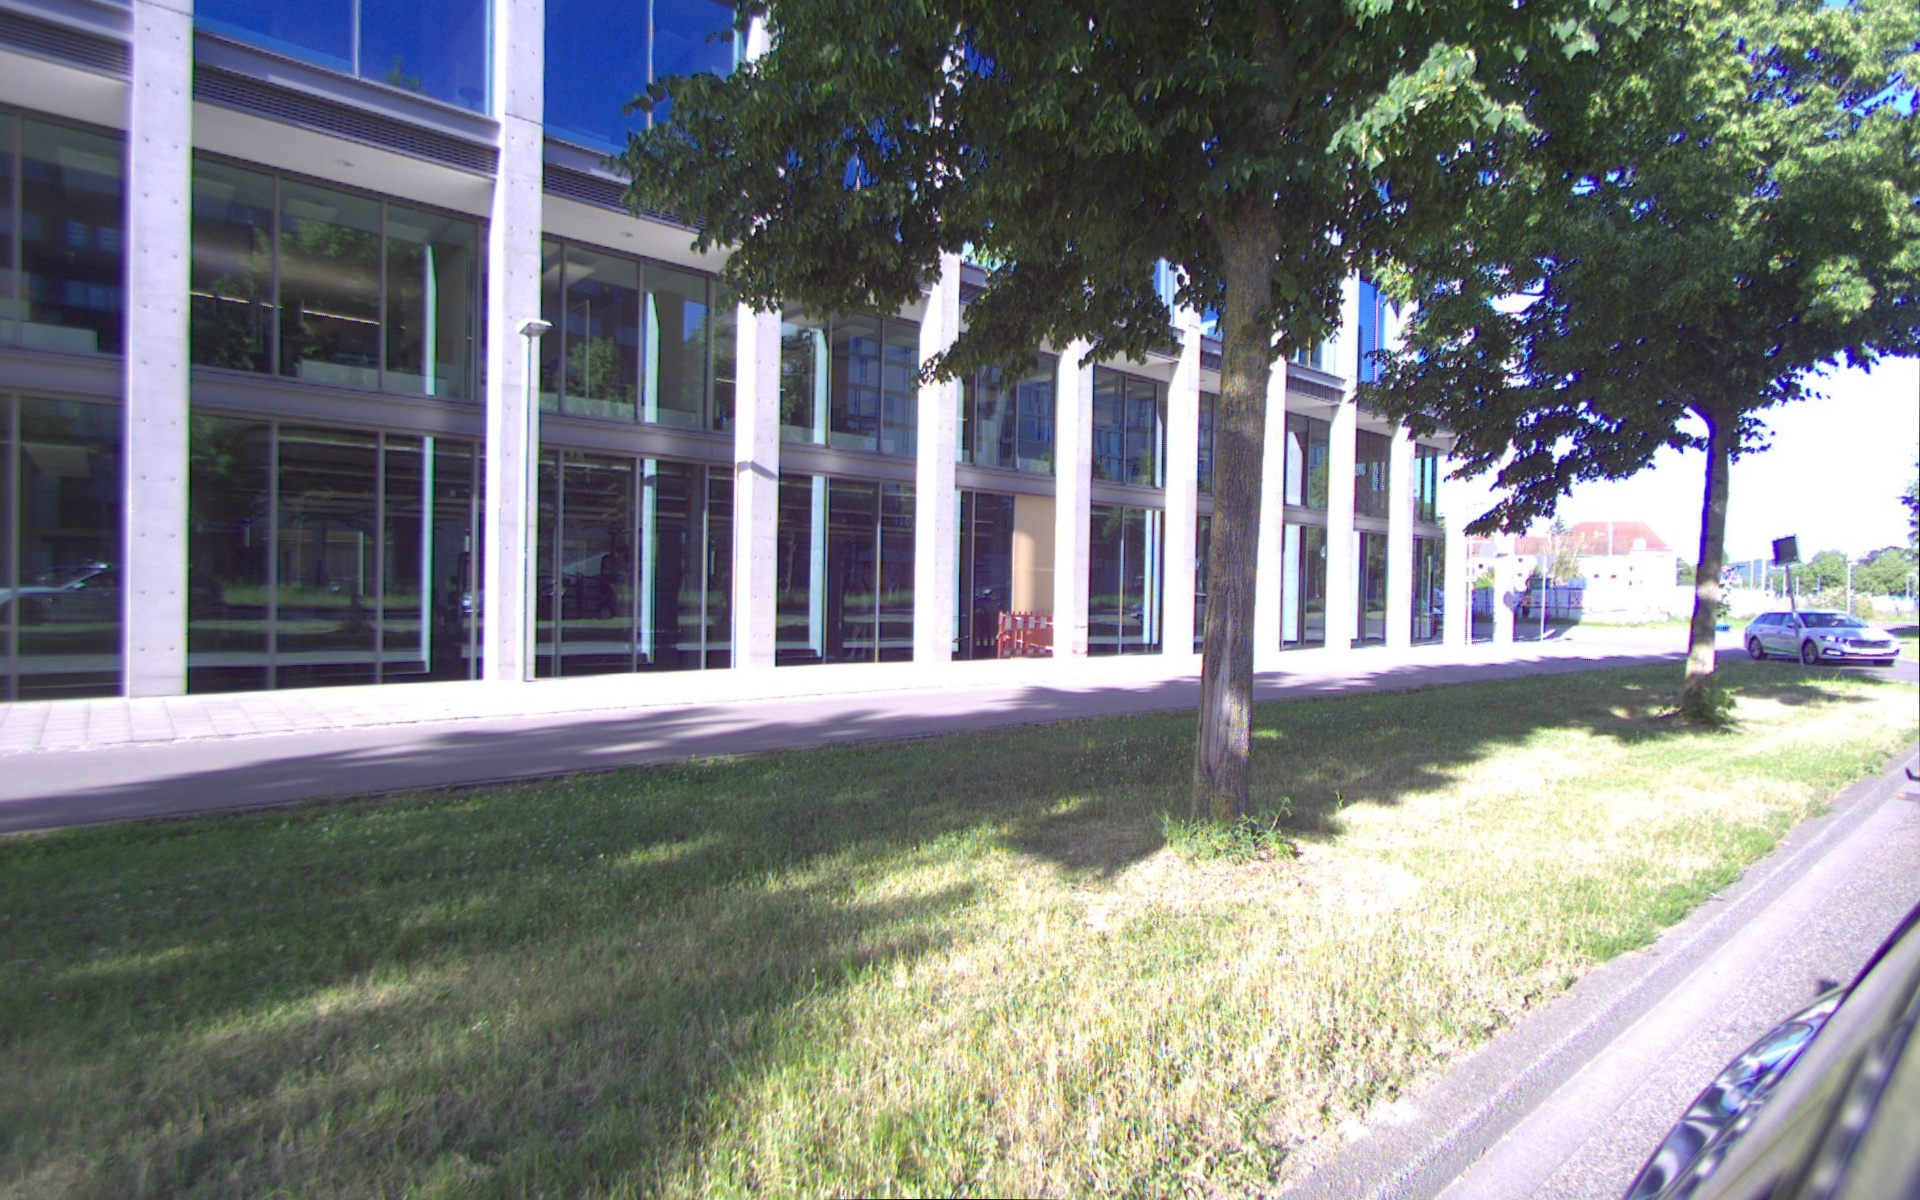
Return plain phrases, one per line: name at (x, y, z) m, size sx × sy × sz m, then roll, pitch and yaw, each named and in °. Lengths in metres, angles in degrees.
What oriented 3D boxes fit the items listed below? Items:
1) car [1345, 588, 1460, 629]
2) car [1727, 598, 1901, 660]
car at (18.652, 0.323, 42.773) m, size 1.963 × 1.598 × 3.998 m, roll 0°, pitch 1°, yaw -38°
car at (23.303, 0.733, 27.855) m, size 1.778 × 1.465 × 4.549 m, roll 1°, pitch 1°, yaw 14°
